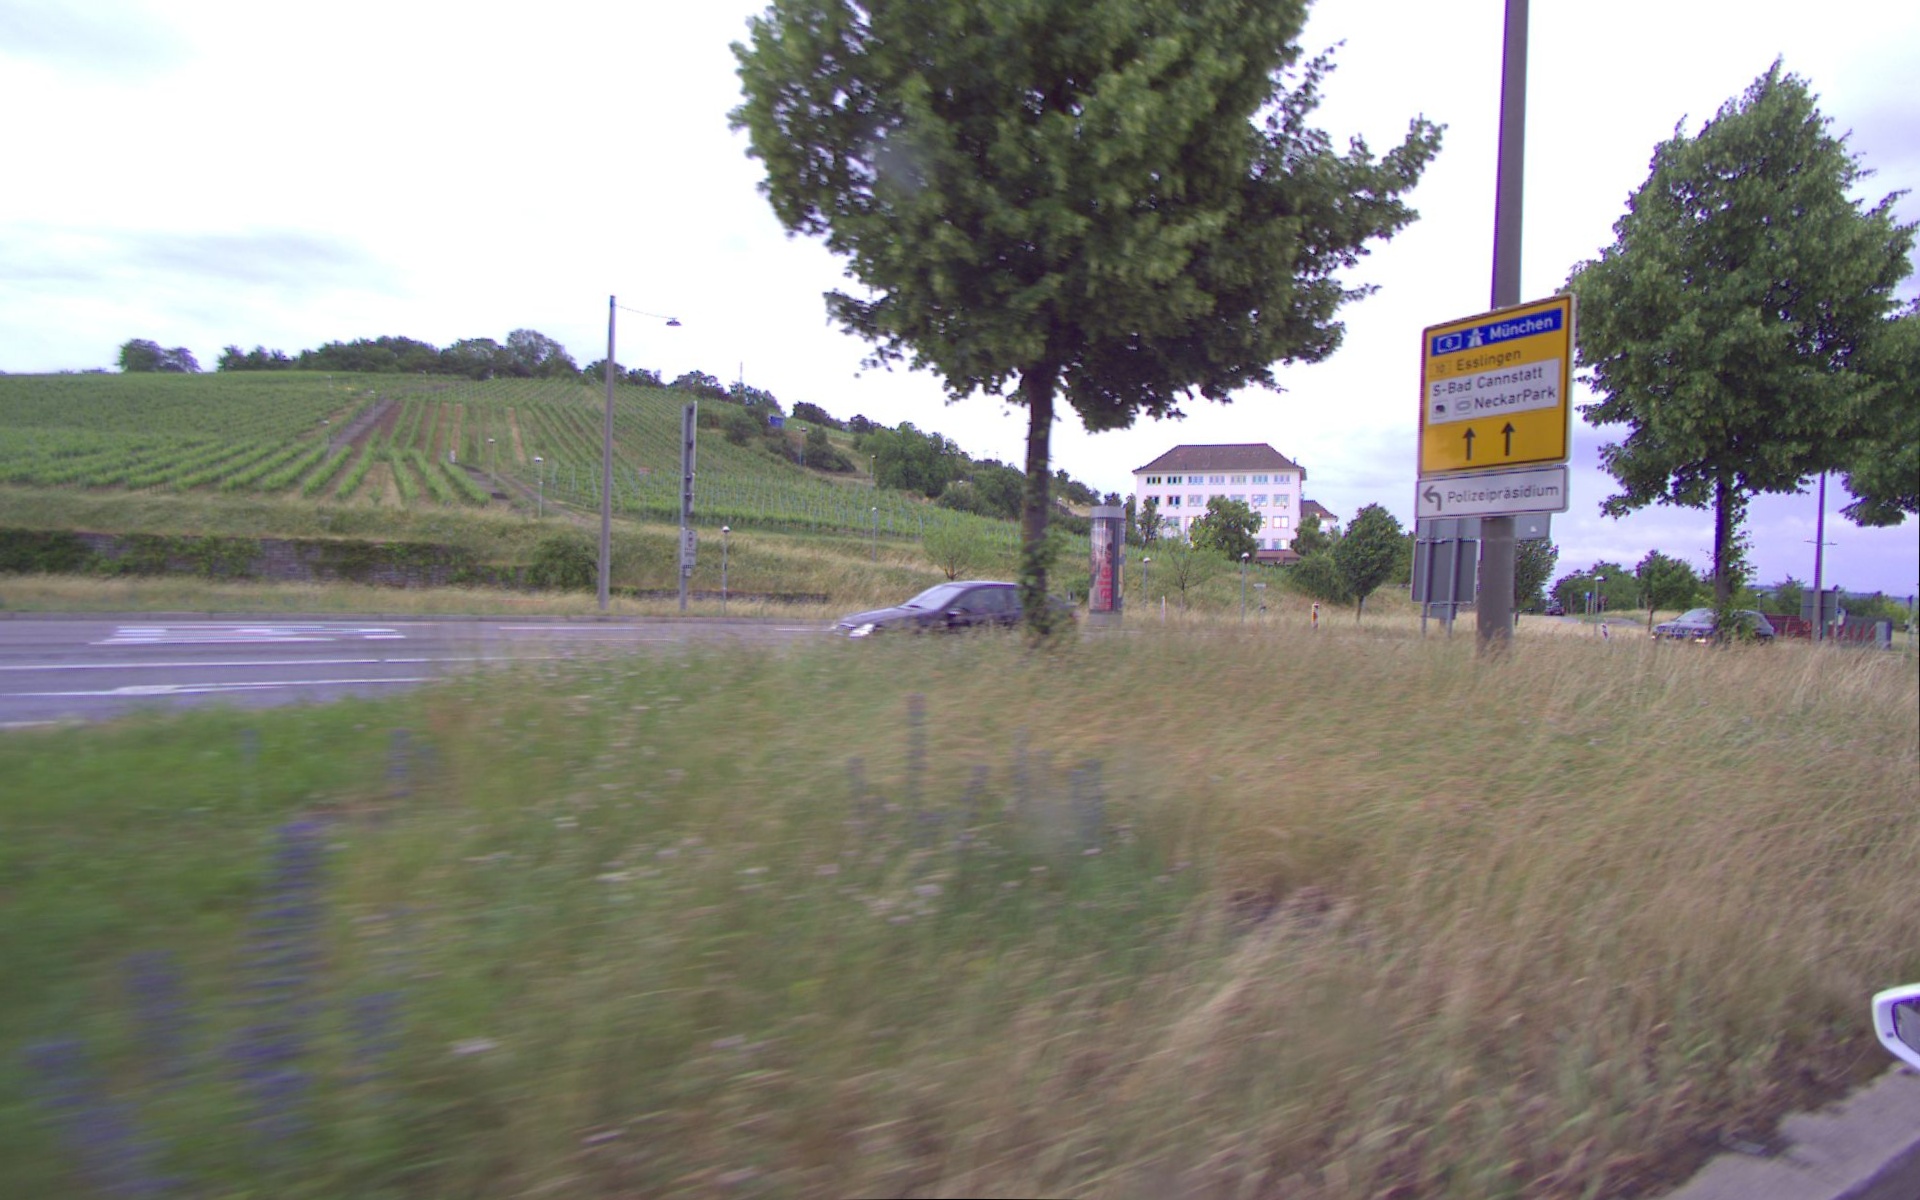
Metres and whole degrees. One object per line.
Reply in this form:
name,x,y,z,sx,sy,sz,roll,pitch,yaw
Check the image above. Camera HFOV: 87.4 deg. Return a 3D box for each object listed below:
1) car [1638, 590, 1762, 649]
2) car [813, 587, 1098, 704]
car,23.777,0.632,32.253,3.953,1.773,1.759,2,0,-30
car,-0.030,0.696,16.412,4.308,1.676,1.868,2,0,-32
